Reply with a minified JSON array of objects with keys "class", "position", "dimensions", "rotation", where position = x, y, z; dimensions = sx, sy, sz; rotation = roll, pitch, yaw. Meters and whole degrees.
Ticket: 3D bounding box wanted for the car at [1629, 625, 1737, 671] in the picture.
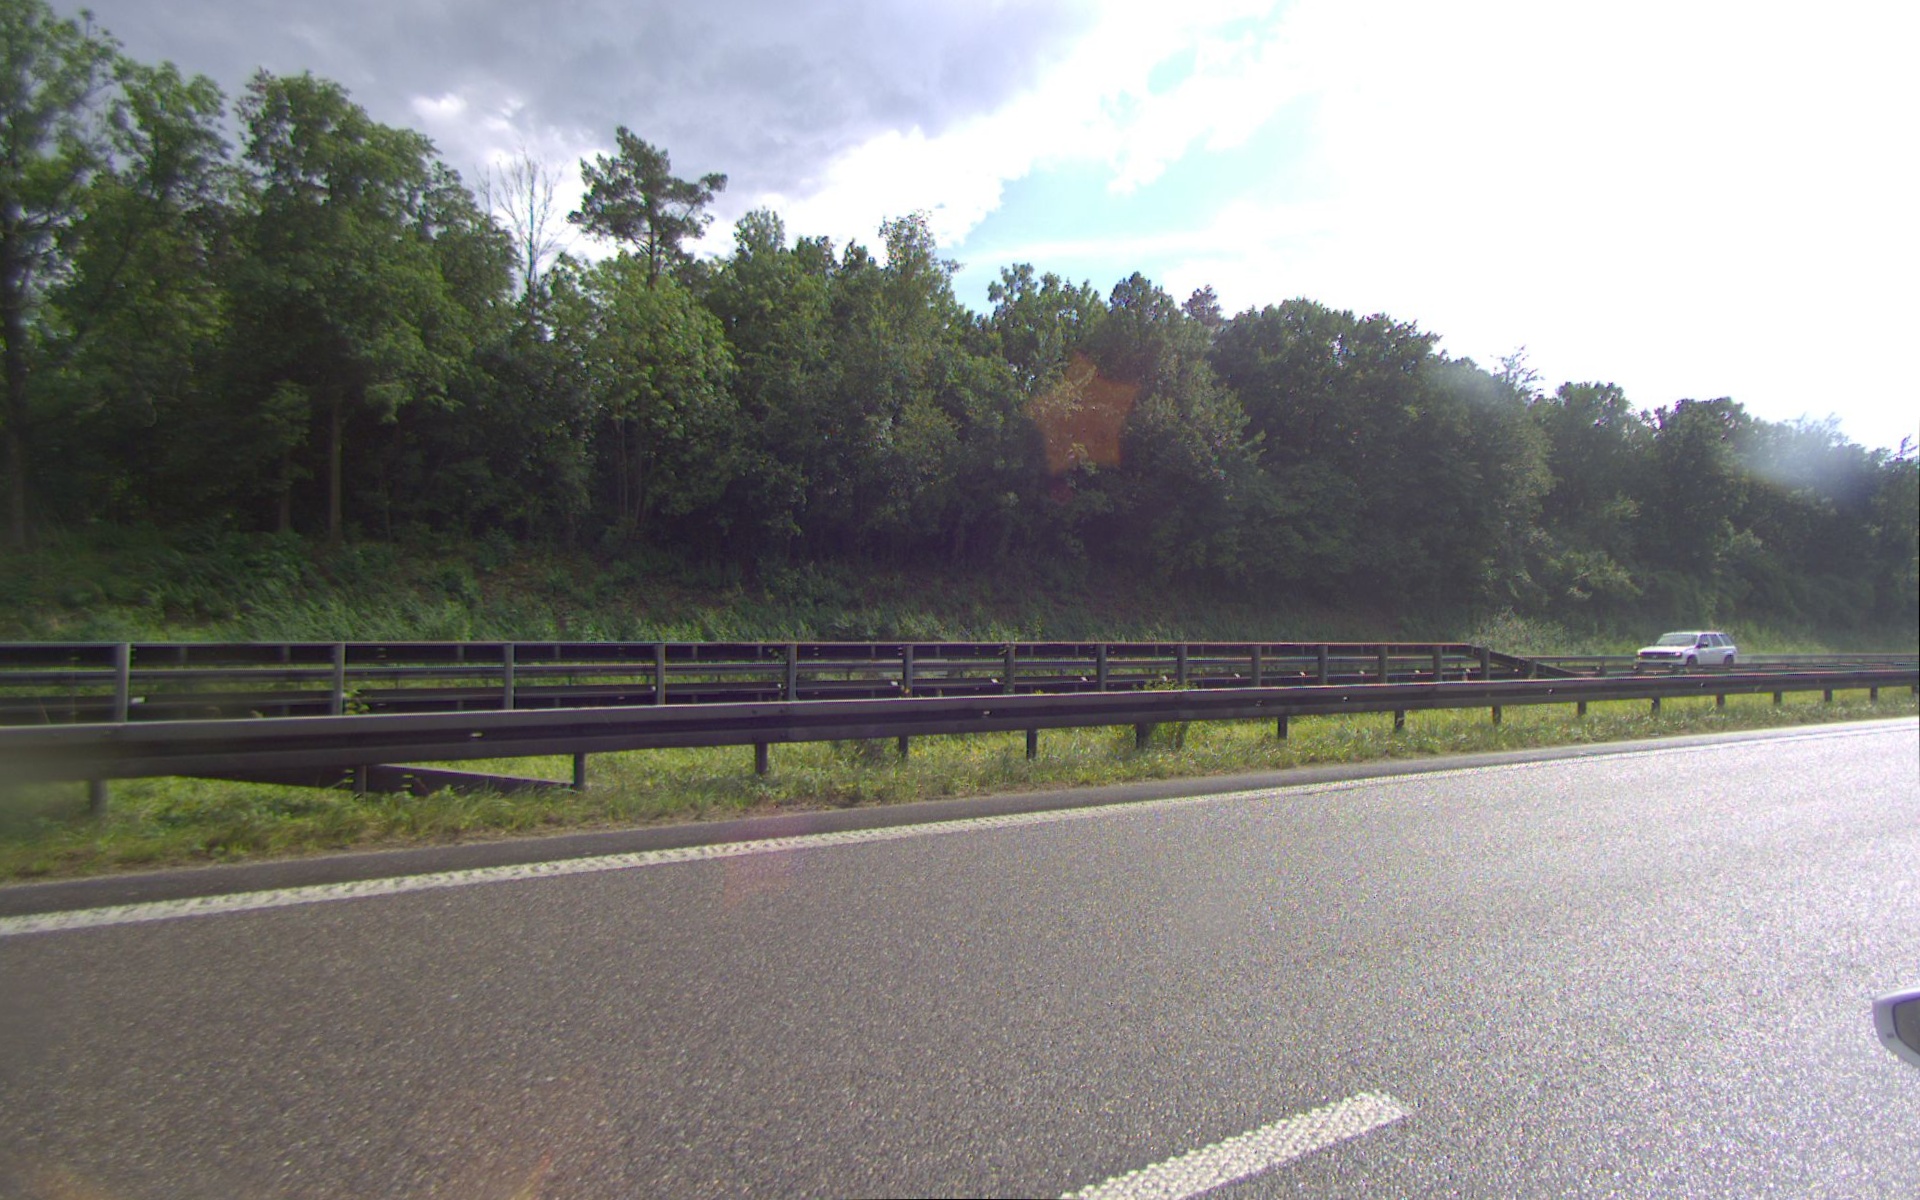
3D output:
[{"class":"car","position":[28.870,1.916,40.079],"dimensions":[4.577,1.685,1.820],"rotation":[2,0,-31]}]
